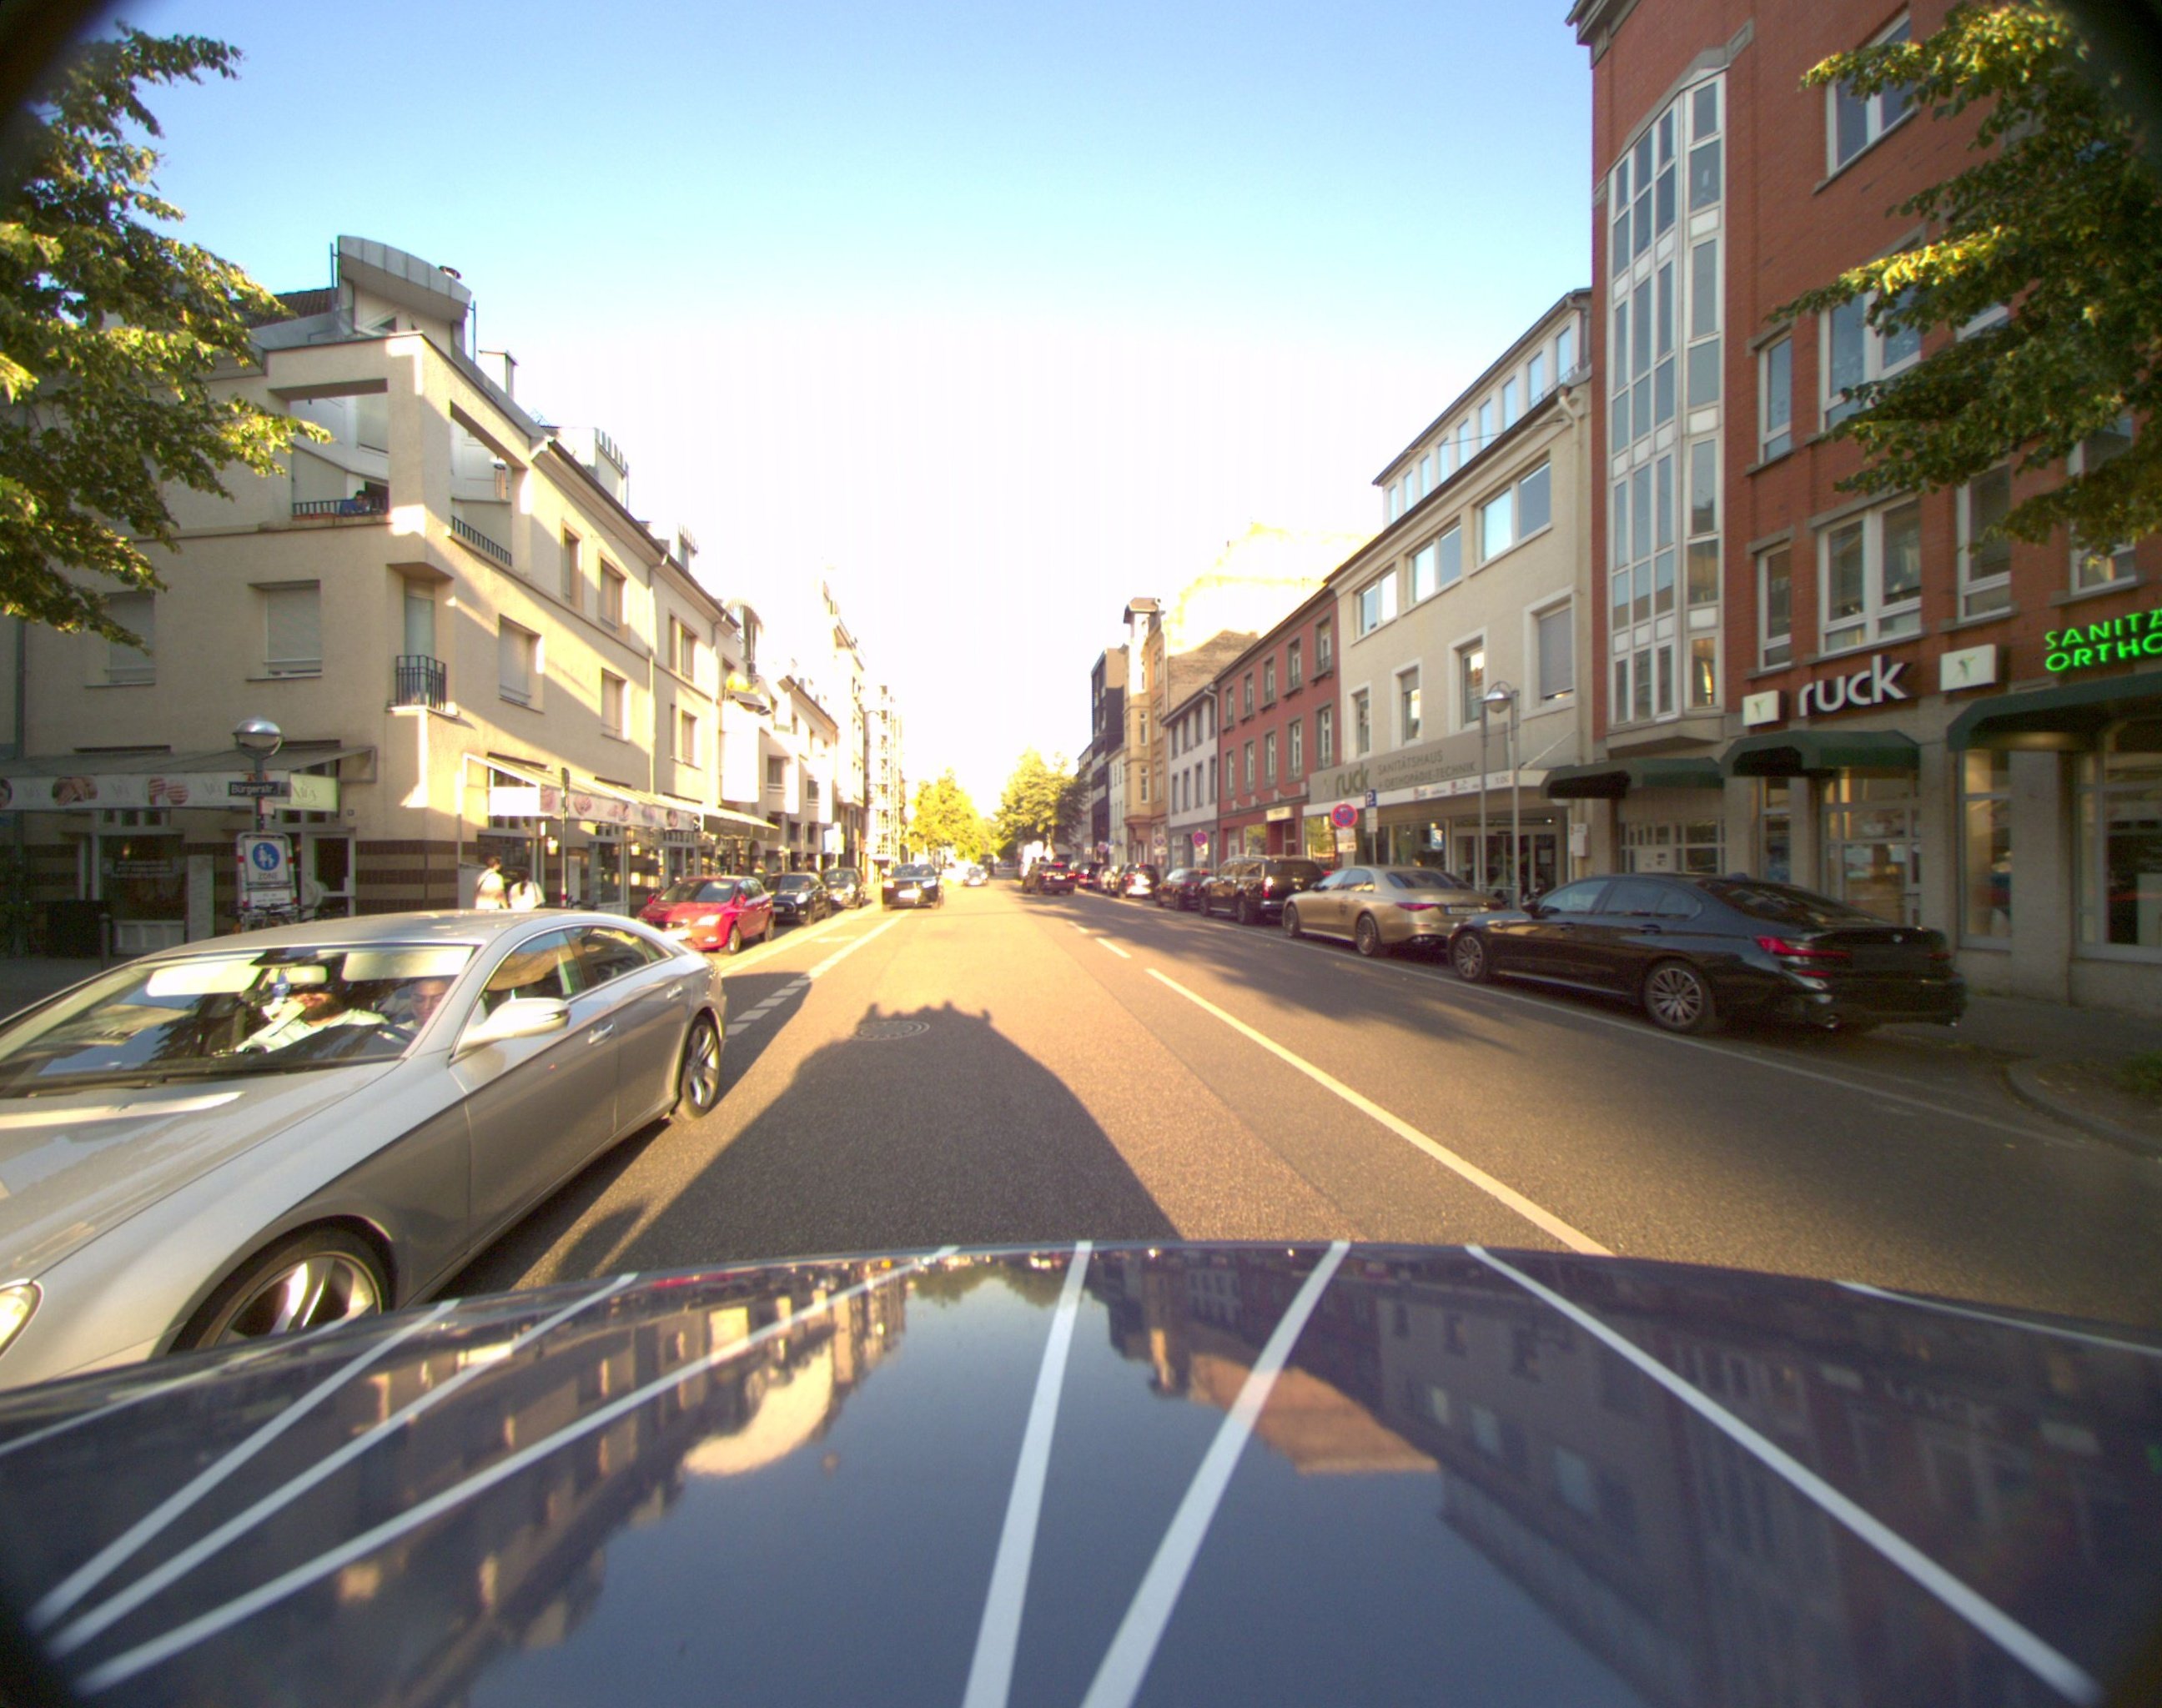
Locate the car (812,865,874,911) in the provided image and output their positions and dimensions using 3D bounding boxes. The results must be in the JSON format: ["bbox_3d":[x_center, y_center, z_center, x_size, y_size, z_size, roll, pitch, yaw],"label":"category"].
[{"bbox_3d":[-9.062,1.241,29.200,1.622,1.583,3.923,-1,0,-8],"label":"car"}]

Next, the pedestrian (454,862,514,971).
[{"bbox_3d":[-9.848,1.009,12.541,0.545,1.748,0.502,2,0,-8],"label":"pedestrian"}]

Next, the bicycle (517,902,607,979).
[{"bbox_3d":[-8.374,1.362,12.336,0.315,1.040,1.881,0,0,-5],"label":"bicycle"}]

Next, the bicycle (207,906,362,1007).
[{"bbox_3d":[-10.614,1.312,10.215,0.291,1.098,1.886,-1,0,-7],"label":"bicycle"}]

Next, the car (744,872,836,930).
[{"bbox_3d":[-8.223,1.273,21.764,1.622,1.425,3.923,0,0,-8],"label":"car"}]

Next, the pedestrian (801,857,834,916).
[{"bbox_3d":[-8.715,1.059,25.142,0.779,1.872,0.669,-4,1,-8],"label":"pedestrian"}]

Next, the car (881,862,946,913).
[{"bbox_3d":[-5.949,1.142,27.463,1.891,1.626,4.224,-2,0,-8],"label":"car"}]

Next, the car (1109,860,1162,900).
[{"bbox_3d":[2.439,1.156,35.094,1.726,1.673,4.047,2,-1,-6],"label":"car"}]

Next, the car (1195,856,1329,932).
[{"bbox_3d":[4.639,0.974,20.336,1.726,1.768,4.935,1,-1,-9],"label":"car"}]

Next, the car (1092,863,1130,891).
[{"bbox_3d":[1.693,1.304,44.038,1.674,1.448,3.563,2,-1,-6],"label":"car"}]

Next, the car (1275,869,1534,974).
[{"bbox_3d":[5.345,1.029,13.519,2.000,1.463,5.104,1,-1,-6],"label":"car"}]

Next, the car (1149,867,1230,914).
[{"bbox_3d":[3.683,1.212,26.501,1.707,1.429,4.012,2,-1,-8],"label":"car"}]

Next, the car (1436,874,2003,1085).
[{"bbox_3d":[5.866,1.006,7.927,1.726,1.464,4.538,2,-1,-7],"label":"car"}]

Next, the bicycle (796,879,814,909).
[{"bbox_3d":[-10.630,1.513,29.330,0.296,1.079,1.462,-1,0,-7],"label":"bicycle"}]

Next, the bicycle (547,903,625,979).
[{"bbox_3d":[-8.032,1.378,12.388,0.315,1.040,1.664,0,0,-5],"label":"bicycle"}]

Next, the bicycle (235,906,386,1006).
[{"bbox_3d":[-10.299,1.312,10.253,0.322,1.098,1.878,-1,0,-7],"label":"bicycle"}]

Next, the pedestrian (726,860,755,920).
[{"bbox_3d":[-10.118,1.065,22.602,0.631,1.739,0.669,0,0,-8],"label":"pedestrian"}]

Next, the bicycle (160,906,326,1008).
[{"bbox_3d":[-11.092,1.311,10.151,0.322,1.098,1.878,-1,0,-7],"label":"bicycle"}]

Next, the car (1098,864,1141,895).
[{"bbox_3d":[1.999,1.315,40.062,1.690,1.461,3.689,2,-1,-6],"label":"car"}]

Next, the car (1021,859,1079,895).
[{"bbox_3d":[-1.623,1.110,38.198,1.737,1.665,4.288,0,0,-19],"label":"car"}]

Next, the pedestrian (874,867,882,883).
[{"bbox_3d":[-16.581,1.686,61.997,0.492,1.256,0.421,-2,1,-7],"label":"pedestrian"}]

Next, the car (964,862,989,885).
[{"bbox_3d":[-7.261,1.341,52.882,1.623,1.465,3.686,-2,0,-8],"label":"car"}]

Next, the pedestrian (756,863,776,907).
[{"bbox_3d":[-13.106,1.281,31.603,0.576,1.789,0.450,-2,1,-7],"label":"pedestrian"}]

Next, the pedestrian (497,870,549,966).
[{"bbox_3d":[-9.396,1.065,12.802,0.521,1.583,0.408,2,0,-8],"label":"pedestrian"}]

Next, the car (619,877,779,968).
[{"bbox_3d":[-7.202,1.216,14.744,1.594,1.425,3.923,0,0,-8],"label":"car"}]

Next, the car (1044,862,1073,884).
[{"bbox_3d":[-1.631,1.343,54.924,1.674,1.512,3.562,1,0,-8],"label":"car"}]

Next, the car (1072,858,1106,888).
[{"bbox_3d":[0.465,1.144,47.874,1.674,1.763,3.563,2,-1,-6],"label":"car"}]

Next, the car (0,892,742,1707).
[{"bbox_3d":[-3.016,1.039,3.082,1.748,1.393,4.635,-2,1,-8],"label":"car"}]
